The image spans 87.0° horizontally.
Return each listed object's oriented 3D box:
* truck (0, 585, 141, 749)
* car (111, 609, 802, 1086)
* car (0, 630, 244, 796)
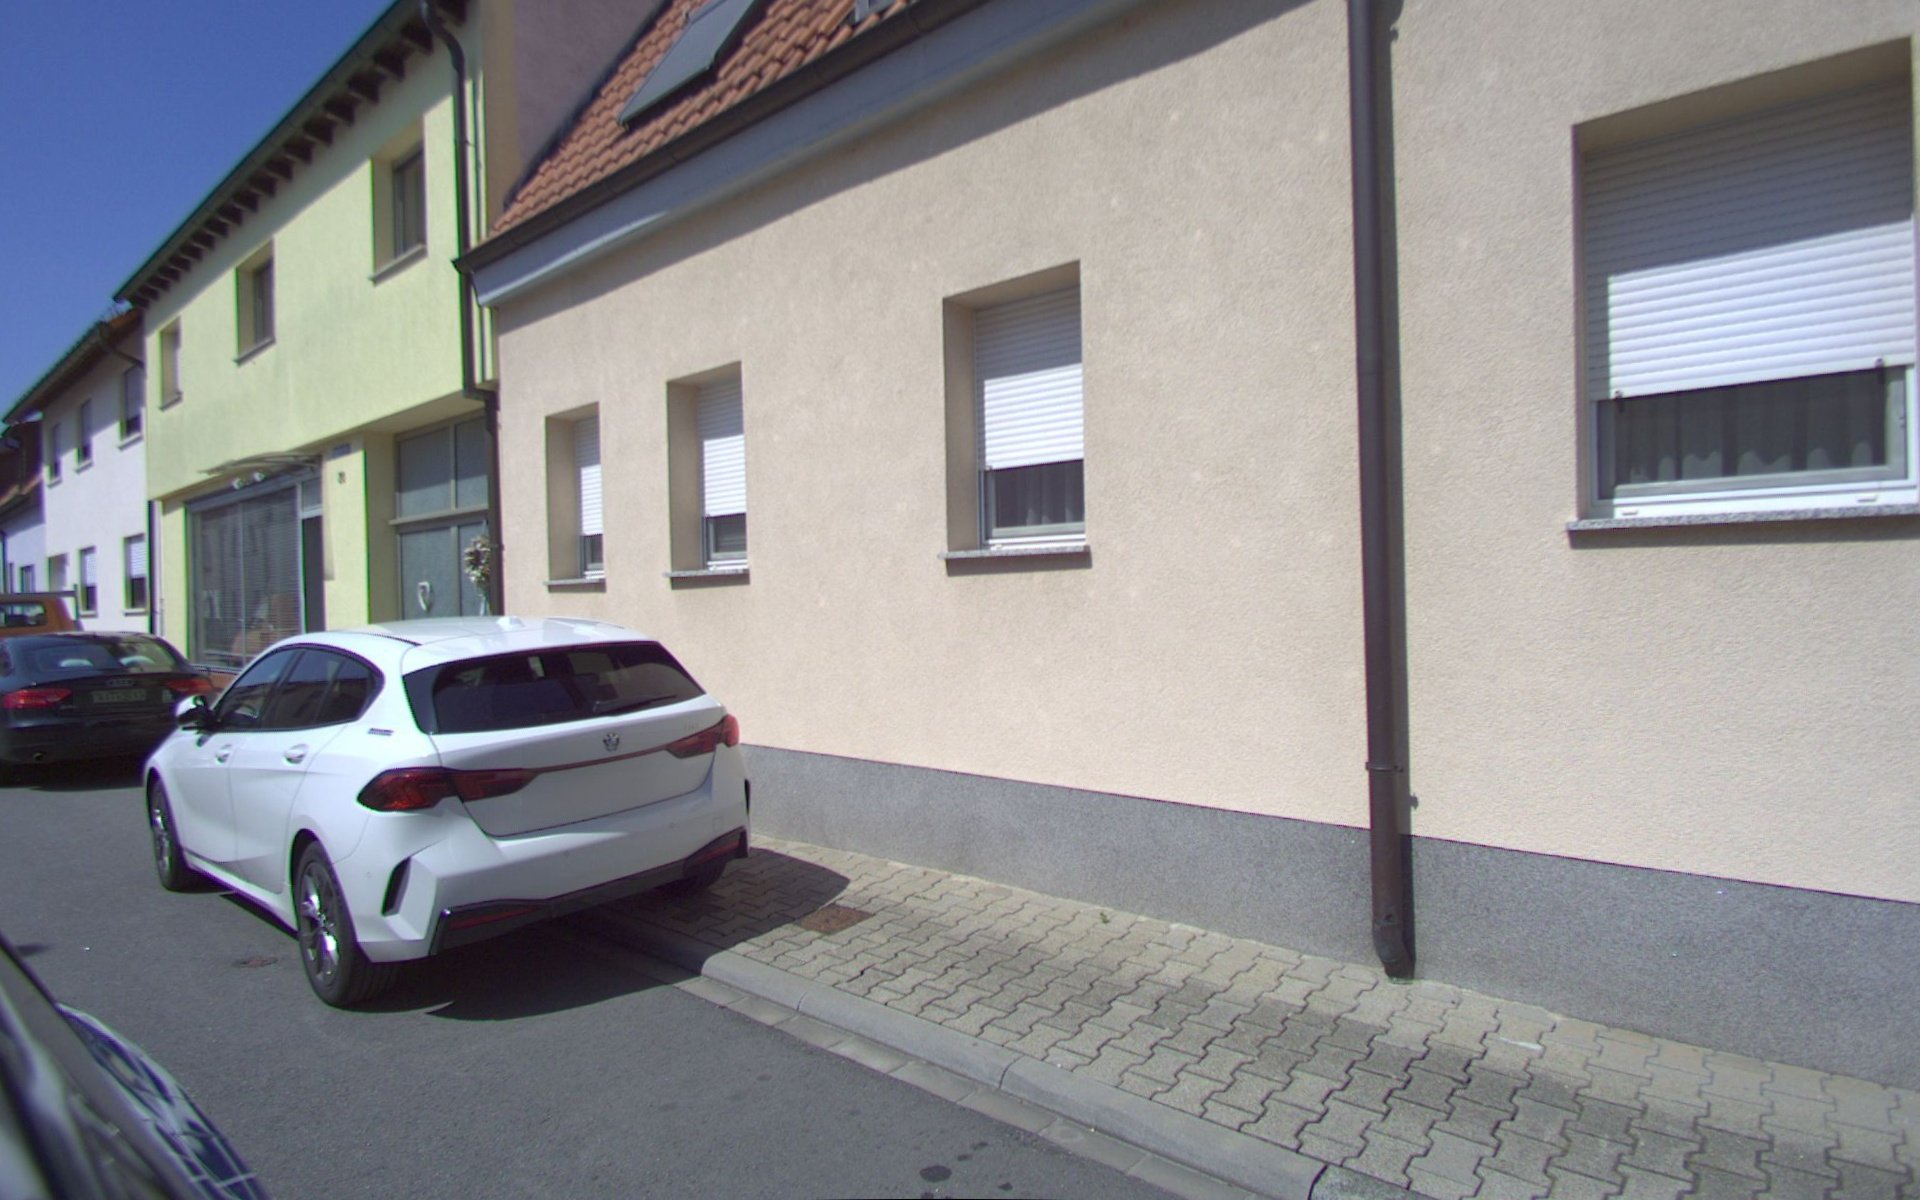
[{"bbox_3d":[-13.603,0.863,14.445,5.078,2.029,2.159,-1,-1,41],"label":"truck"},{"bbox_3d":[-2.859,0.808,5.233,4.214,1.465,1.763,-1,-1,42],"label":"car"},{"bbox_3d":[-9.456,1.036,10.724,4.627,1.405,1.902,-1,-3,40],"label":"car"}]
